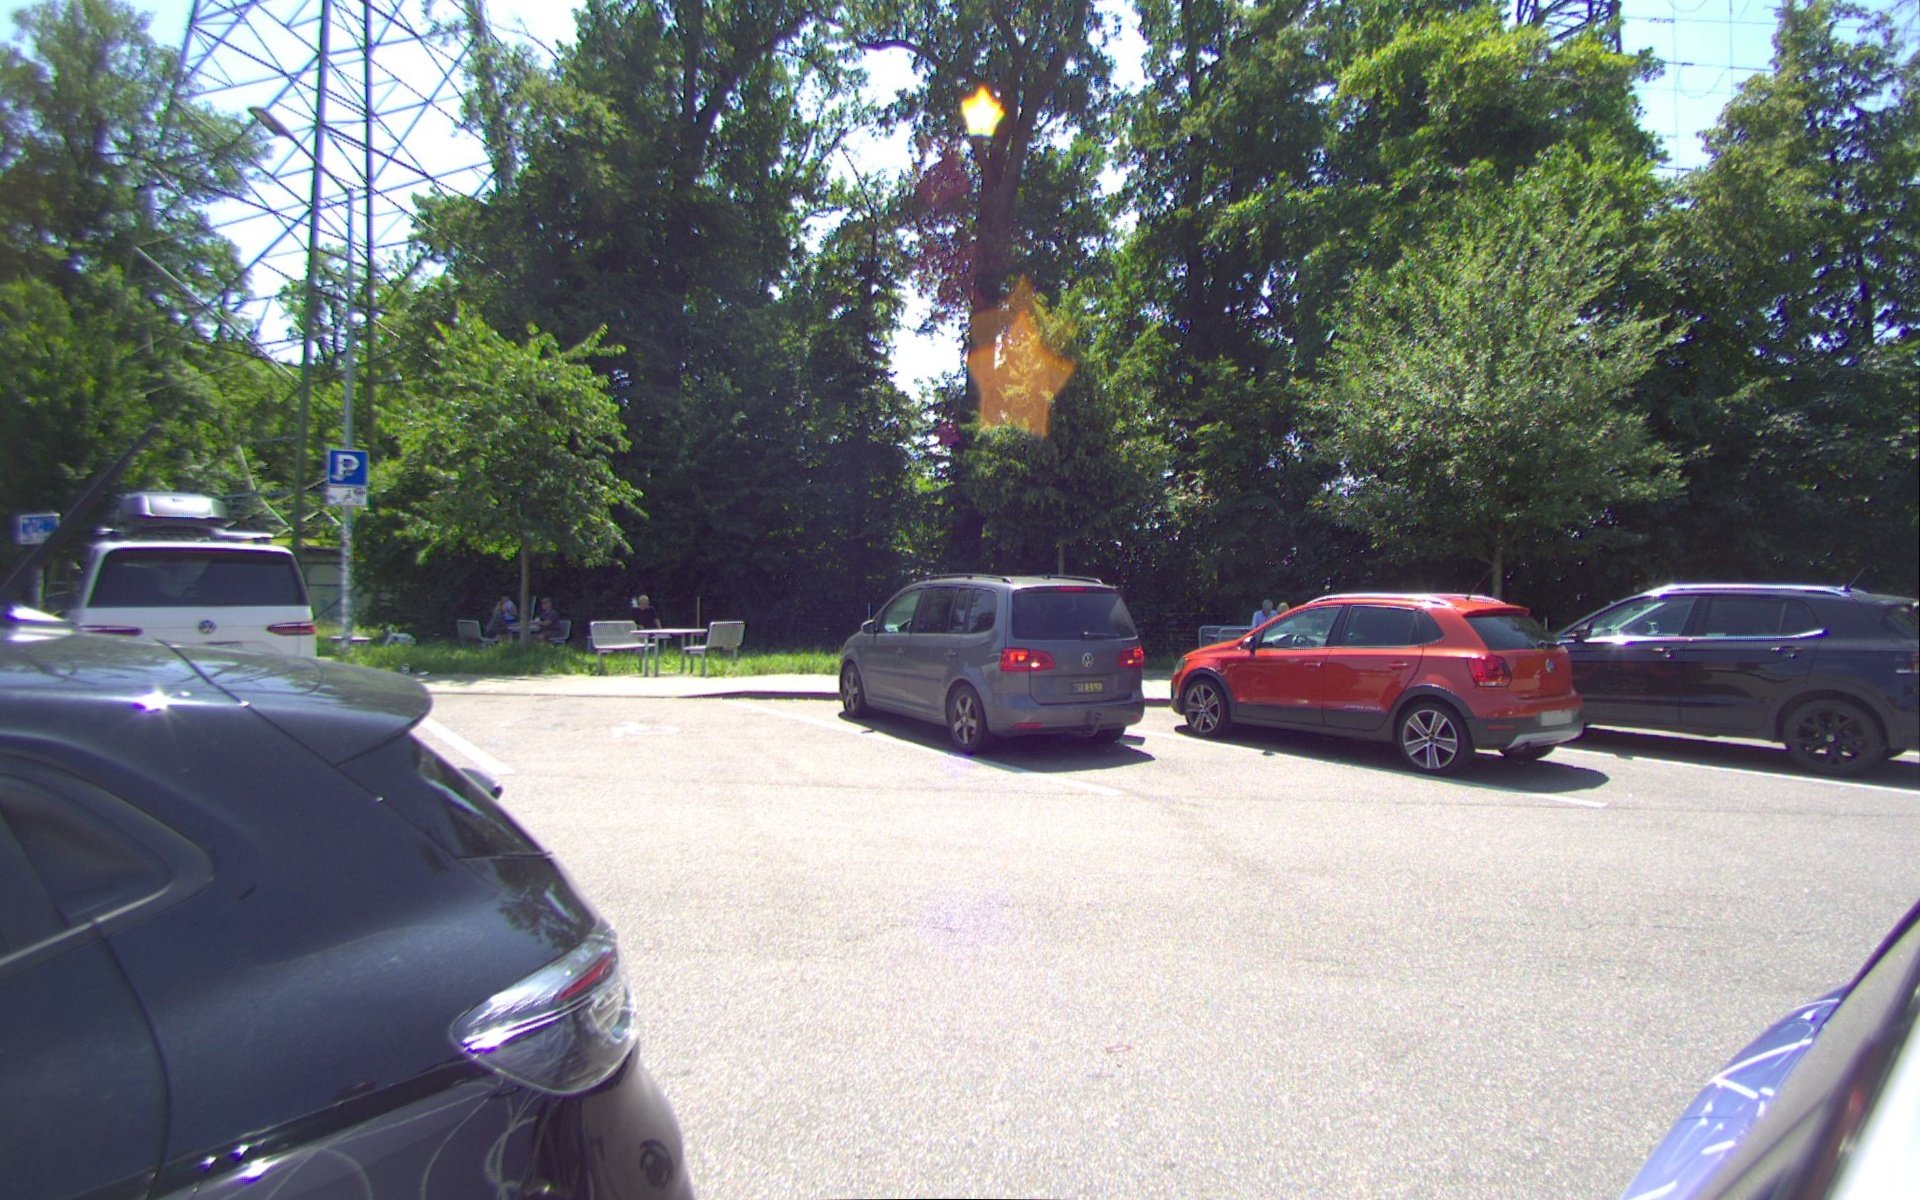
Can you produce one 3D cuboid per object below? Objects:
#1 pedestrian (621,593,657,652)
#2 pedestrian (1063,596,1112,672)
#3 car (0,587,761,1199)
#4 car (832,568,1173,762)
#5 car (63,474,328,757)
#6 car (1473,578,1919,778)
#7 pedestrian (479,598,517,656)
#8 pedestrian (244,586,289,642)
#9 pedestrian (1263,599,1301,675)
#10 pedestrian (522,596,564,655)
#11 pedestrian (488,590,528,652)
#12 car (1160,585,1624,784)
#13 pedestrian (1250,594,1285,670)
[{"bbox_3d":[-6.755,0.467,21.293,0.550,1.229,0.599,1,-1,-1],"label":"pedestrian"},{"bbox_3d":[2.117,0.568,16.858,0.660,1.235,0.682,1,-2,-5],"label":"pedestrian"},{"bbox_3d":[-2.129,0.721,0.577,1.615,1.503,3.706,0,-1,44],"label":"car"},{"bbox_3d":[0.222,0.504,10.544,1.717,1.611,3.961,0,1,-30],"label":"car"},{"bbox_3d":[-8.068,0.092,10.616,1.885,2.353,4.089,0,1,-40],"label":"car"},{"bbox_3d":[7.237,0.579,9.665,1.727,1.566,3.806,0,1,-39],"label":"car"},{"bbox_3d":[-10.436,0.601,22.870,0.630,1.287,0.579,1,-1,-39],"label":"pedestrian"},{"bbox_3d":[-17.597,0.351,25.689,0.599,1.391,0.705,1,-1,16],"label":"pedestrian"},{"bbox_3d":[5.686,0.643,17.886,0.495,1.316,0.491,1,-1,0],"label":"pedestrian"},{"bbox_3d":[-9.717,0.586,23.567,0.722,1.343,0.669,1,-1,-39],"label":"pedestrian"},{"bbox_3d":[-10.948,0.494,24.504,0.722,1.478,0.669,1,-1,-39],"label":"pedestrian"},{"bbox_3d":[3.858,0.608,9.642,1.604,1.476,3.810,0,1,-34],"label":"car"},{"bbox_3d":[5.767,0.593,19.010,0.495,1.393,0.491,1,-1,0],"label":"pedestrian"}]
